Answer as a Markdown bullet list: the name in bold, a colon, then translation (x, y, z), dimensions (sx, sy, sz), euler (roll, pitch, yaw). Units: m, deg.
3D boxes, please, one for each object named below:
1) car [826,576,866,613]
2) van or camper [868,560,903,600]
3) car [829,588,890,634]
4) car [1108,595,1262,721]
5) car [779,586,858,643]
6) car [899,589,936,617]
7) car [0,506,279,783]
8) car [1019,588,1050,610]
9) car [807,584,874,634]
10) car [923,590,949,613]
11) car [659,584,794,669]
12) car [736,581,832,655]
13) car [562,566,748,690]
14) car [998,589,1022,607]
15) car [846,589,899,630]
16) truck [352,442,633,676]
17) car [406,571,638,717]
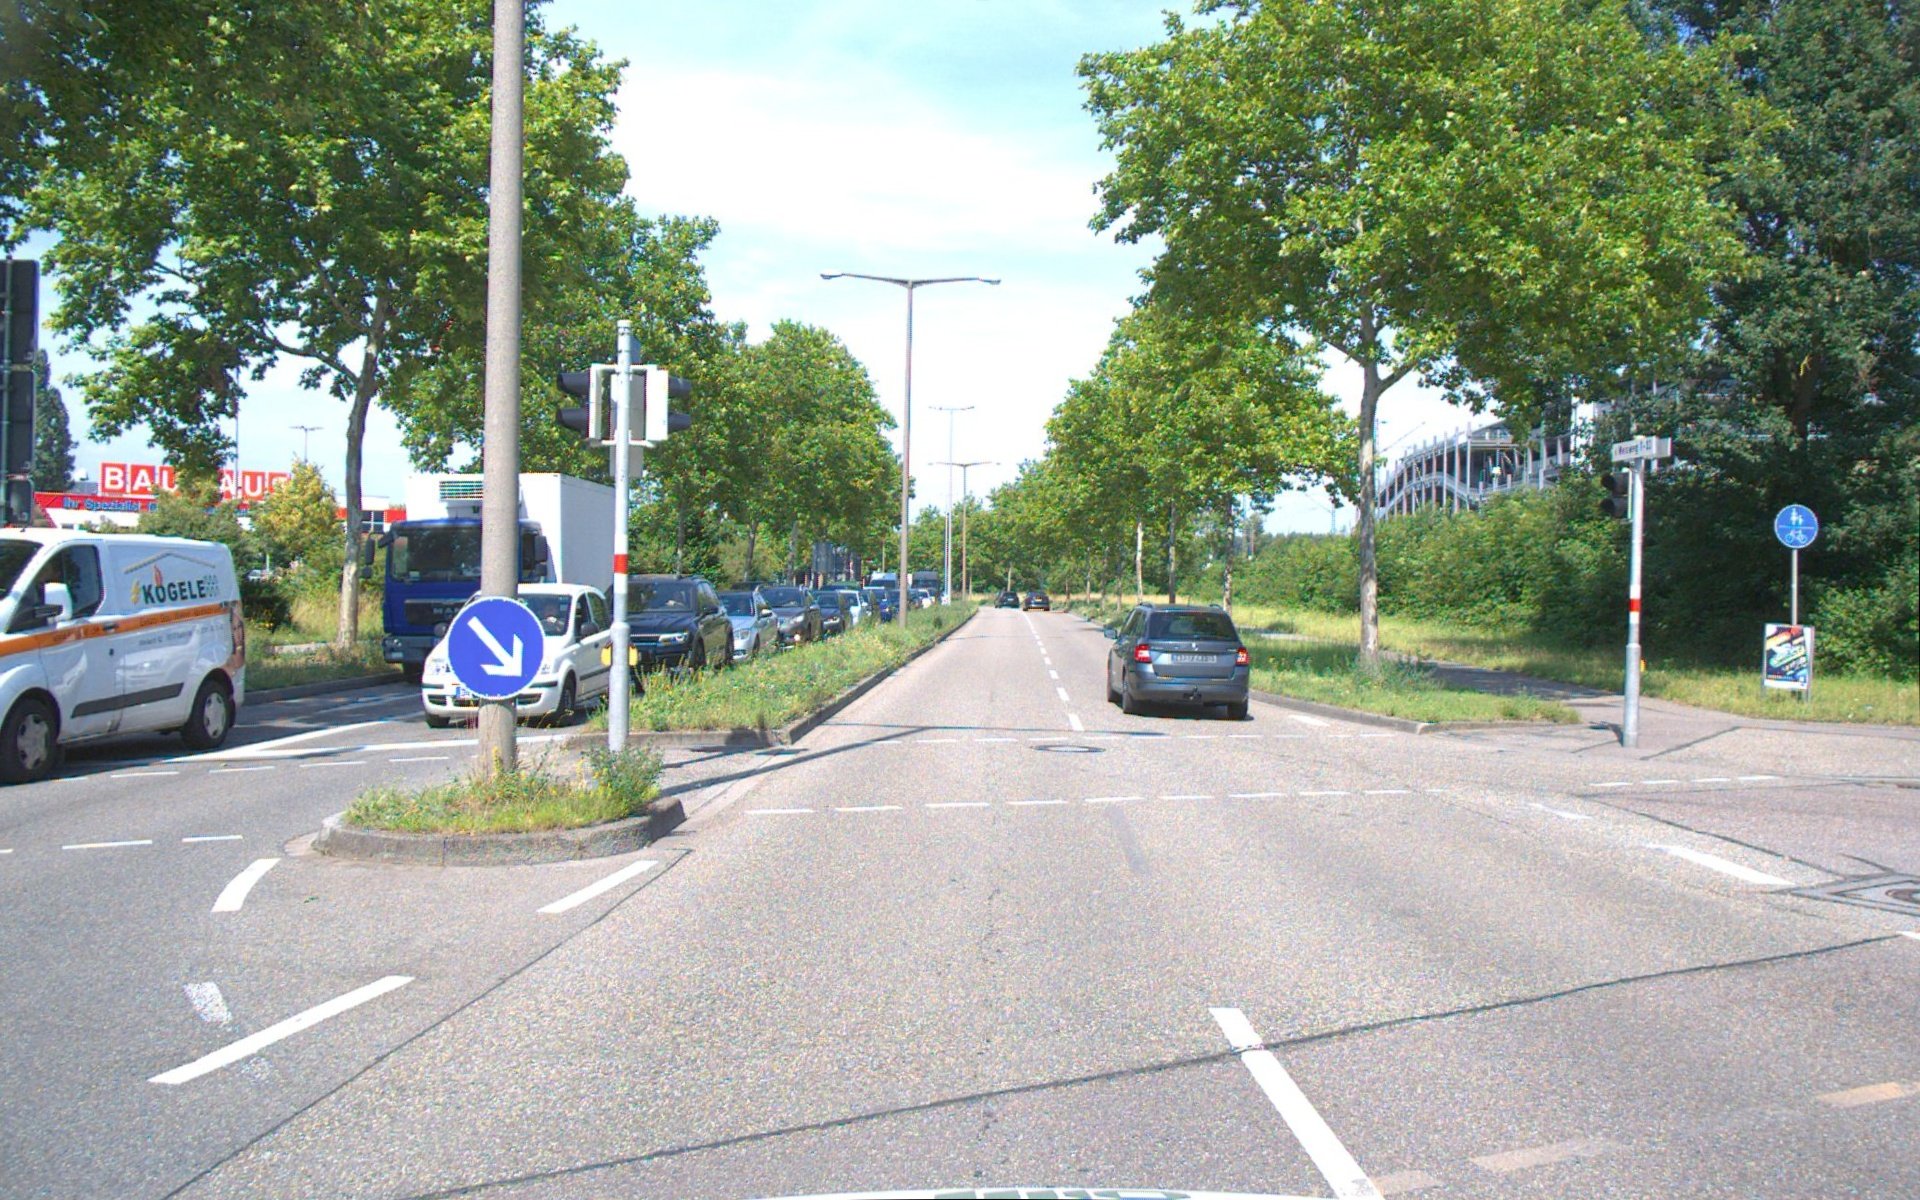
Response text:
- **car**: translation (-5.852, -0.275, 85.056), dimensions (1.654, 1.891, 4.037), euler (0, 0, 2)
- **van or camper**: translation (-5.066, -1.350, 112.590), dimensions (1.973, 2.633, 5.518), euler (0, 0, 2)
- **car**: translation (-3.509, 0.368, 58.540), dimensions (1.721, 1.557, 4.829), euler (0, 0, 2)
- **car**: translation (3.013, 0.727, 22.826), dimensions (1.640, 1.478, 4.037), euler (3, 0, 2)
- **car**: translation (-3.851, 0.365, 45.616), dimensions (1.654, 1.499, 4.219), euler (-1, 0, 2)
- **car**: translation (-2.332, 0.162, 91.391), dimensions (1.746, 1.484, 4.473), euler (1, 0, 2)
- **car**: translation (-7.938, 0.289, 14.145), dimensions (1.935, 2.034, 5.033), euler (1, 0, 2)
- **car**: translation (5.358, -0.094, 119.209), dimensions (1.869, 1.488, 4.620), euler (1, 1, -1)
- **car**: translation (-3.662, 0.256, 51.152), dimensions (1.654, 1.497, 3.815), euler (0, 0, 2)
- **car**: translation (-1.643, 0.105, 114.484), dimensions (1.654, 1.557, 3.815), euler (0, 0, 2)
- **car**: translation (-4.345, 0.444, 31.371), dimensions (1.759, 1.493, 4.524), euler (0, 0, 2)
- **car**: translation (-4.021, 0.375, 38.351), dimensions (1.654, 1.614, 4.241), euler (0, 0, 2)
- **car**: translation (-4.449, 0.407, 24.859), dimensions (1.782, 1.675, 4.695), euler (0, -1, 2)
- **car**: translation (4.515, -0.163, 148.568), dimensions (1.869, 1.488, 4.581), euler (2, 1, -2)
- **car**: translation (-3.351, 0.328, 63.848), dimensions (1.748, 1.515, 4.211), euler (0, 0, 1)
- **truck**: translation (-7.776, -0.661, 28.530), dimensions (2.746, 3.532, 6.693), euler (-1, 1, 2)
- **car**: translation (-4.882, 0.435, 18.921), dimensions (1.560, 1.503, 3.730), euler (0, 0, 2)
